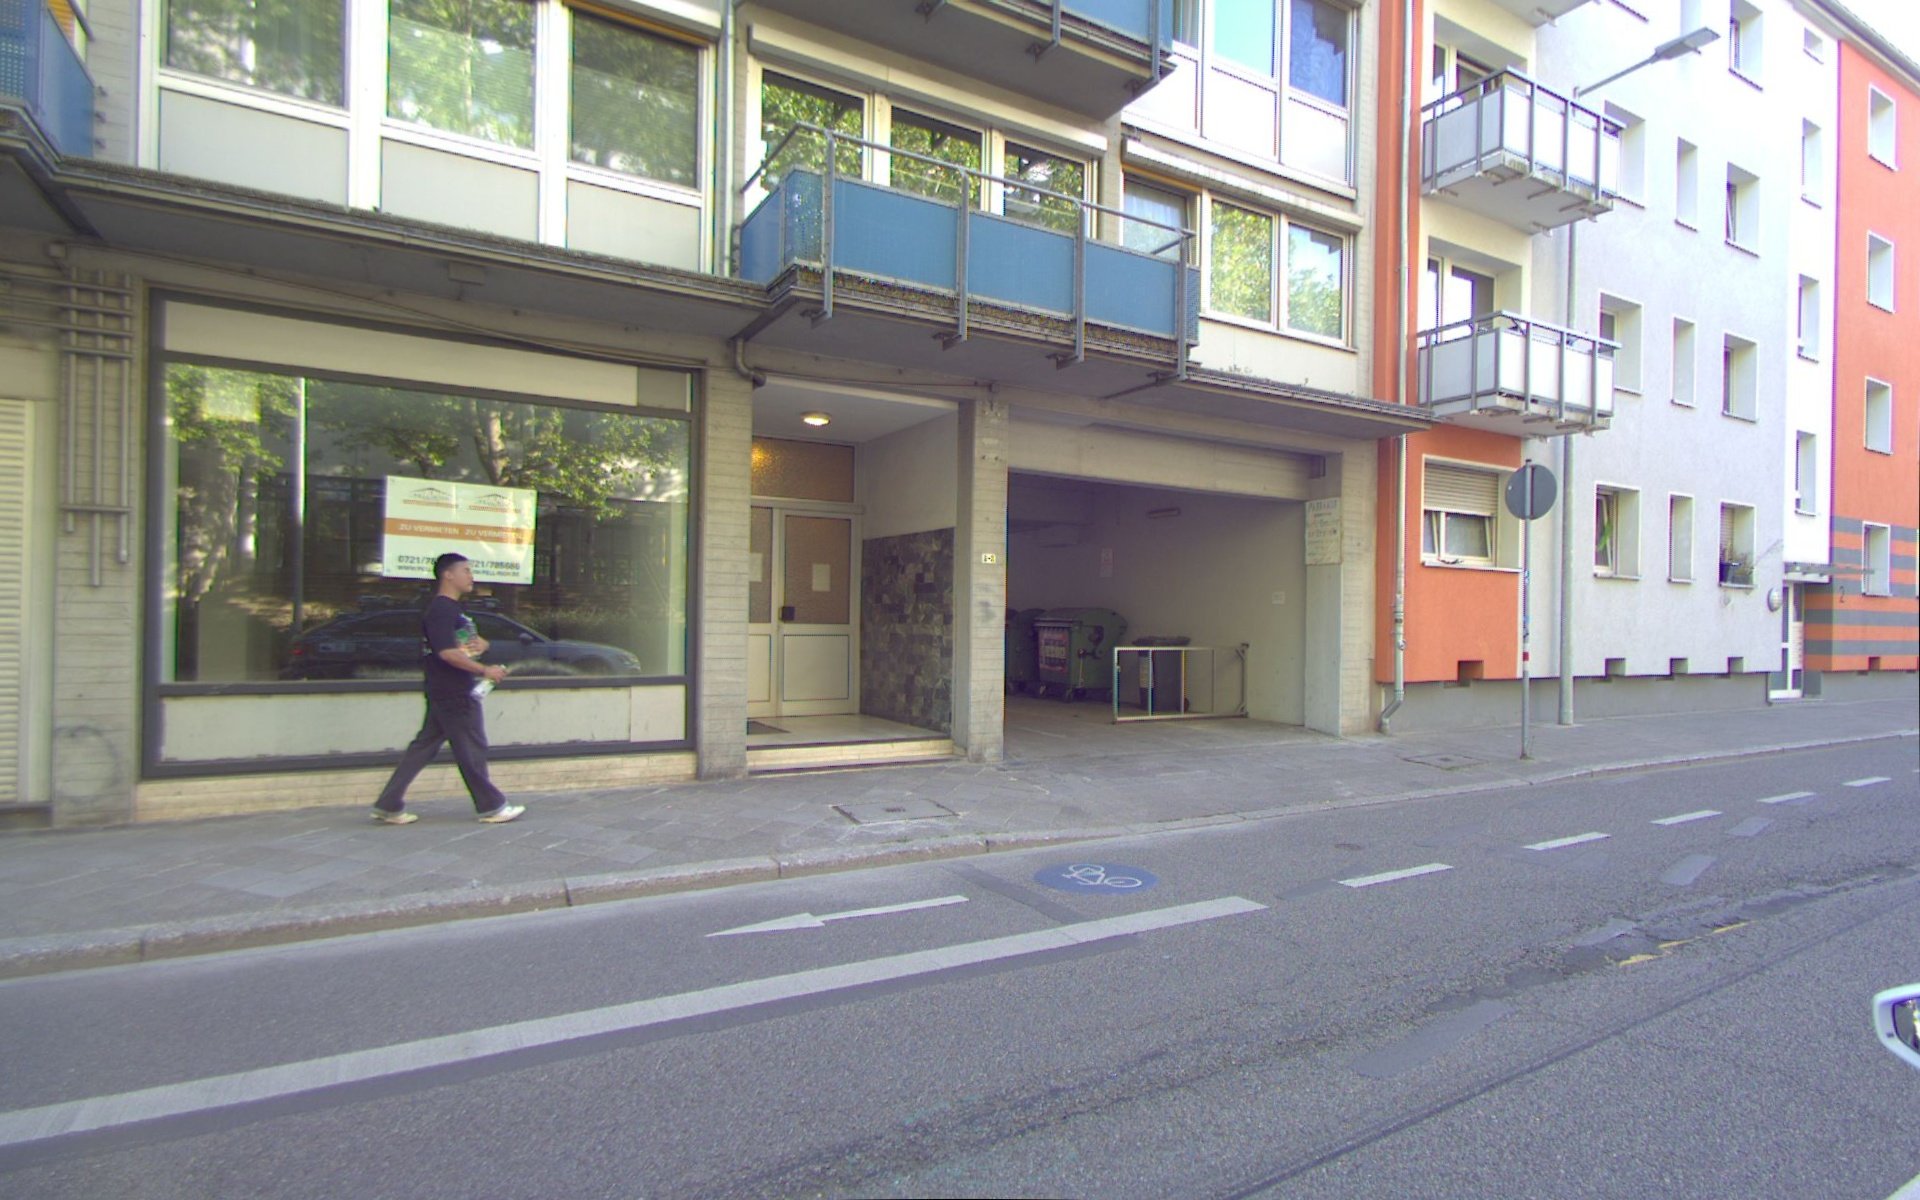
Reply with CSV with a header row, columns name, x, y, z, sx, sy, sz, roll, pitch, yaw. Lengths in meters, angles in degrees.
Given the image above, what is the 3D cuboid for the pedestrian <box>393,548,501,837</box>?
name,x,y,z,sx,sy,sz,roll,pitch,yaw
pedestrian,-3.303,0.568,6.506,0.519,1.764,0.628,1,0,-20

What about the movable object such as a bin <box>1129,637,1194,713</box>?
name,x,y,z,sx,sy,sz,roll,pitch,yaw
movable object such as a bin,2.899,1.063,14.478,0.704,1.054,0.583,1,0,-30

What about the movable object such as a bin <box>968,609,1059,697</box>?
name,x,y,z,sx,sy,sz,roll,pitch,yaw
movable object such as a bin,0.895,0.877,17.130,1.011,1.409,1.319,1,0,-27

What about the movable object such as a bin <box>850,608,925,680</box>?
name,x,y,z,sx,sy,sz,roll,pitch,yaw
movable object such as a bin,-1.498,0.878,20.651,1.014,1.409,1.264,1,0,-37

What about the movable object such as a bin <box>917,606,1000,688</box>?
name,x,y,z,sx,sy,sz,roll,pitch,yaw
movable object such as a bin,-0.038,0.846,18.661,1.011,1.462,1.318,1,0,-29

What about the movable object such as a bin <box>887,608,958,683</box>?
name,x,y,z,sx,sy,sz,roll,pitch,yaw
movable object such as a bin,-0.742,0.865,19.674,1.012,1.409,1.046,1,0,-31

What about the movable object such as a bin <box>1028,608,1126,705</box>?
name,x,y,z,sx,sy,sz,roll,pitch,yaw
movable object such as a bin,1.824,0.855,15.824,1.009,1.438,1.321,1,0,-23
